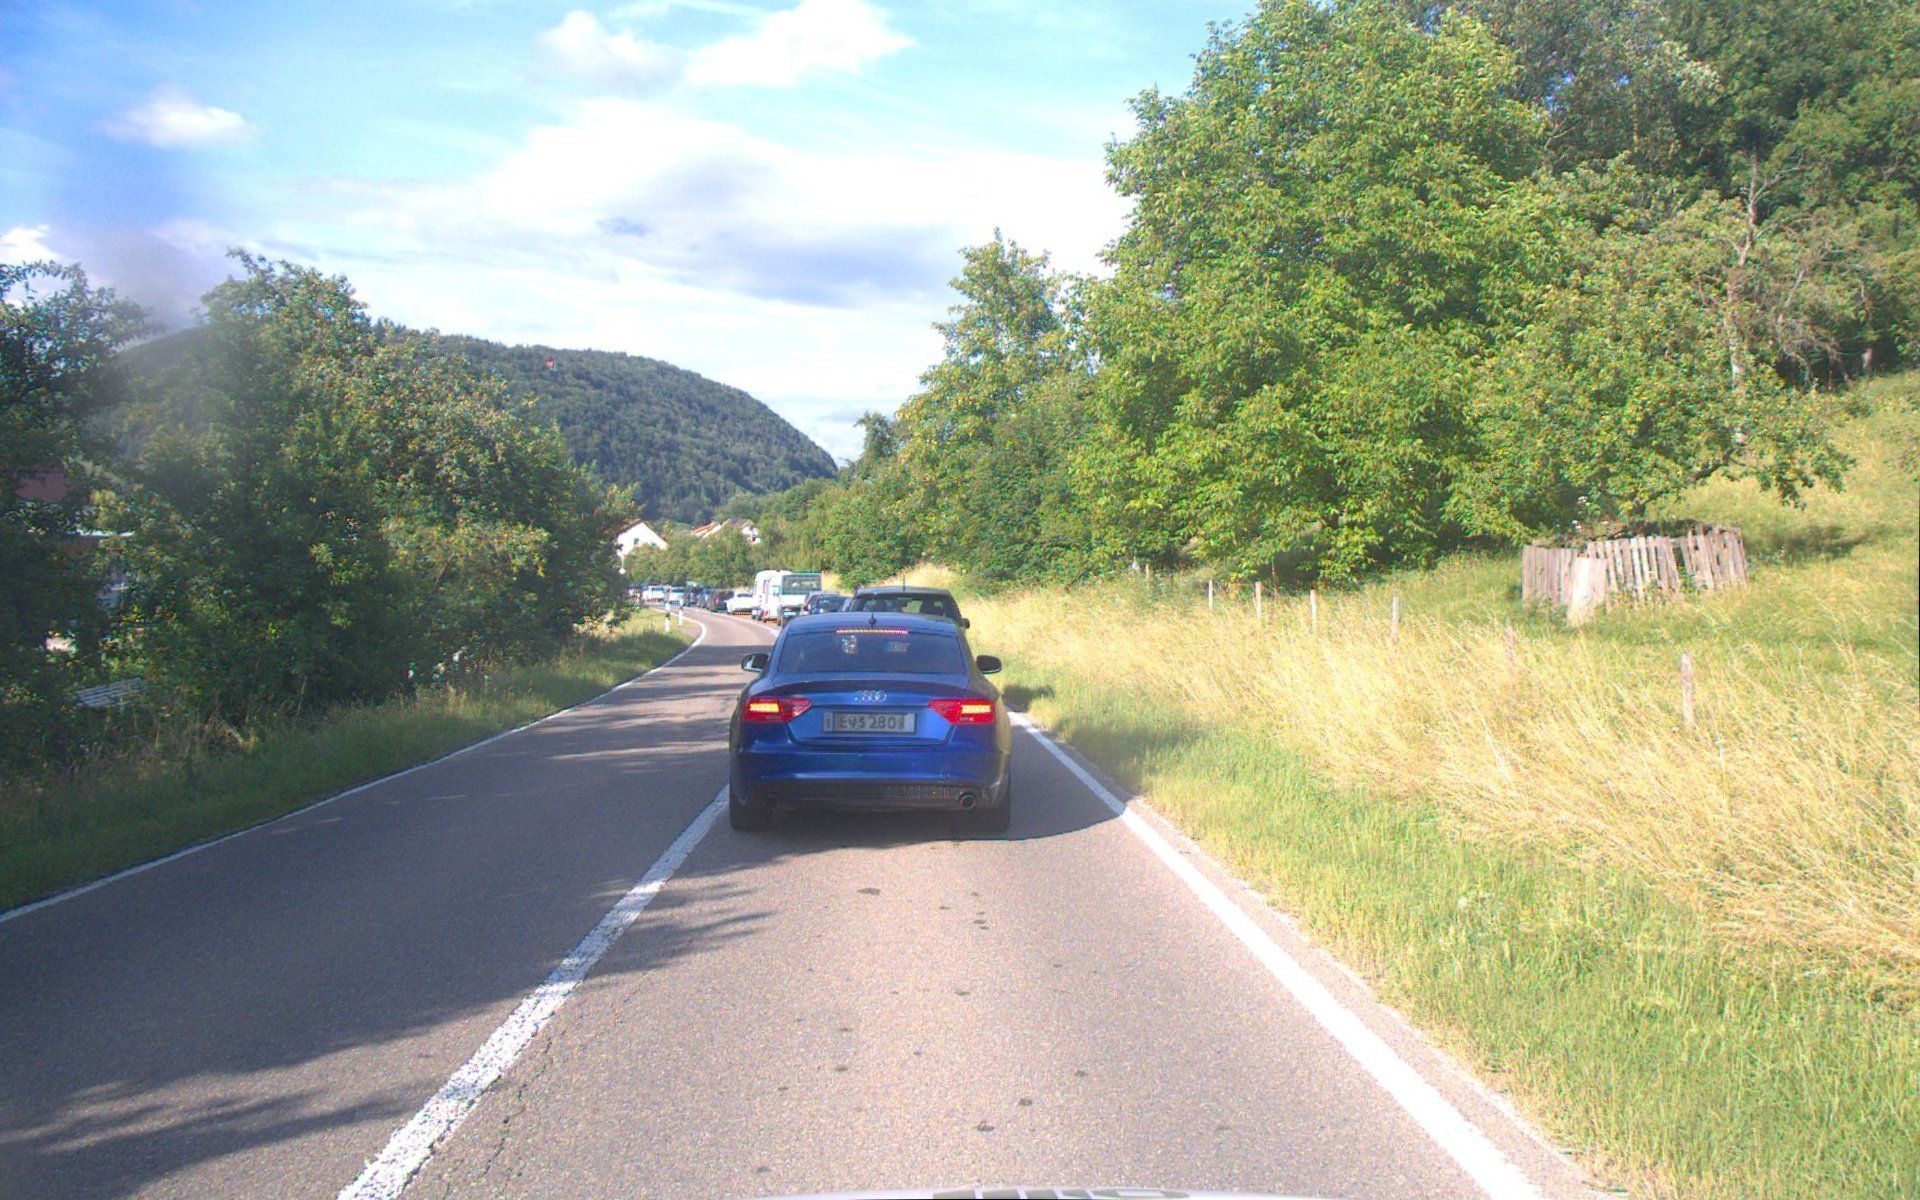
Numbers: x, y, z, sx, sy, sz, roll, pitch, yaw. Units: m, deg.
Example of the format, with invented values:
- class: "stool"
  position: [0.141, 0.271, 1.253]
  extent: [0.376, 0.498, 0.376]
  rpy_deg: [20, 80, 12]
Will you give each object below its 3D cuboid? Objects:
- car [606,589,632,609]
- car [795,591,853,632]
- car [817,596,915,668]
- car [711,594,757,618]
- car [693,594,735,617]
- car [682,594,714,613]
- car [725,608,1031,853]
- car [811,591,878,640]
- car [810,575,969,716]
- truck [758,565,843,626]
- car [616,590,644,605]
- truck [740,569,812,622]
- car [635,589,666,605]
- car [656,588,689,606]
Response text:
- class: "car"
  position: [-36.348, -0.141, 176.144]
  extent: [1.967, 2.049, 3.972]
  rpy_deg: [1, 0, -23]
- class: "car"
  position: [-5.371, 0.440, 64.778]
  extent: [1.957, 1.508, 3.991]
  rpy_deg: [1, 0, -9]
- class: "car"
  position: [-1.963, 0.656, 35.371]
  extent: [1.953, 1.411, 3.998]
  rpy_deg: [1, 0, -2]
- class: "car"
  position: [-14.305, 0.368, 104.711]
  extent: [1.966, 1.508, 3.973]
  rpy_deg: [1, 0, -22]
- class: "car"
  position: [-16.654, 0.364, 111.943]
  extent: [1.966, 1.508, 3.973]
  rpy_deg: [1, 0, -22]
- class: "car"
  position: [-21.075, 0.290, 132.985]
  extent: [1.963, 1.508, 3.979]
  rpy_deg: [1, 0, -18]
- class: "car"
  position: [-0.508, 0.762, 11.522]
  extent: [1.757, 1.383, 3.999]
  rpy_deg: [0, 0, -1]
- class: "car"
  position: [-3.732, 0.487, 53.091]
  extent: [1.955, 1.508, 3.994]
  rpy_deg: [1, 0, -7]
- class: "car"
  position: [-0.945, 0.579, 22.603]
  extent: [1.953, 1.732, 3.998]
  rpy_deg: [1, 0, -2]
- class: "truck"
  position: [-7.797, -0.204, 79.585]
  extent: [2.814, 2.712, 10.359]
  rpy_deg: [1, 0, -13]
- class: "car"
  position: [-33.513, -0.279, 167.909]
  extent: [1.967, 1.508, 3.970]
  rpy_deg: [1, 0, -24]
- class: "truck"
  position: [-10.257, -0.233, 91.260]
  extent: [2.814, 2.712, 10.610]
  rpy_deg: [1, 0, -13]
- class: "car"
  position: [-29.214, -0.264, 156.024]
  extent: [1.967, 1.508, 3.970]
  rpy_deg: [1, 0, -24]
- class: "car"
  position: [-24.985, -0.258, 143.598]
  extent: [1.967, 1.508, 3.970]
  rpy_deg: [1, 0, -24]
